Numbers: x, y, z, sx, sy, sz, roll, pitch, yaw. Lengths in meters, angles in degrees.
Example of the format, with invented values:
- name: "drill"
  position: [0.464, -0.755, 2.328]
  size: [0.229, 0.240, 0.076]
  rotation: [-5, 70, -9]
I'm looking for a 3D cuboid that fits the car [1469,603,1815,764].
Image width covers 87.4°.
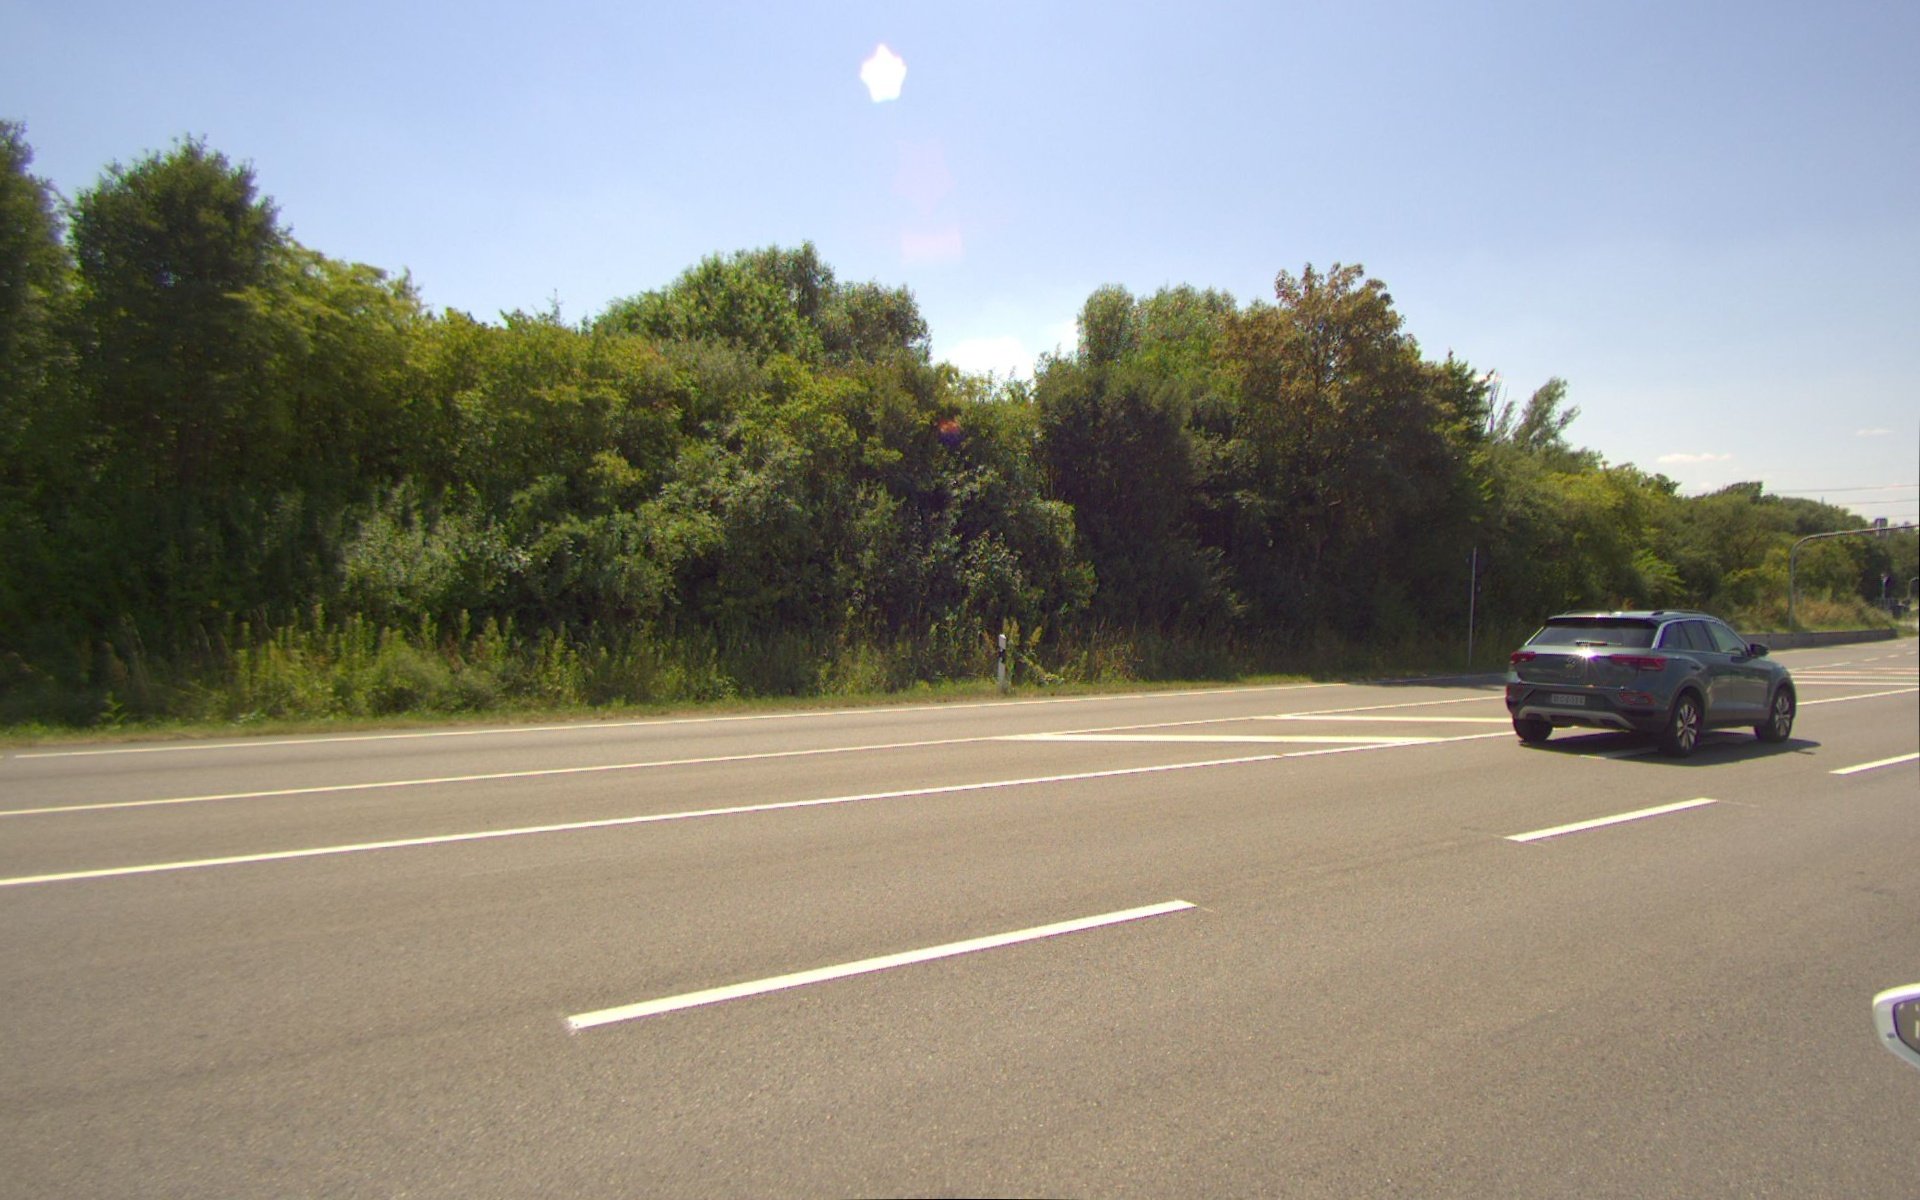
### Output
- name: "car"
  position: [8.243, 0.875, 12.044]
  size: [4.341, 1.607, 1.825]
  rotation: [1, 0, -32]
